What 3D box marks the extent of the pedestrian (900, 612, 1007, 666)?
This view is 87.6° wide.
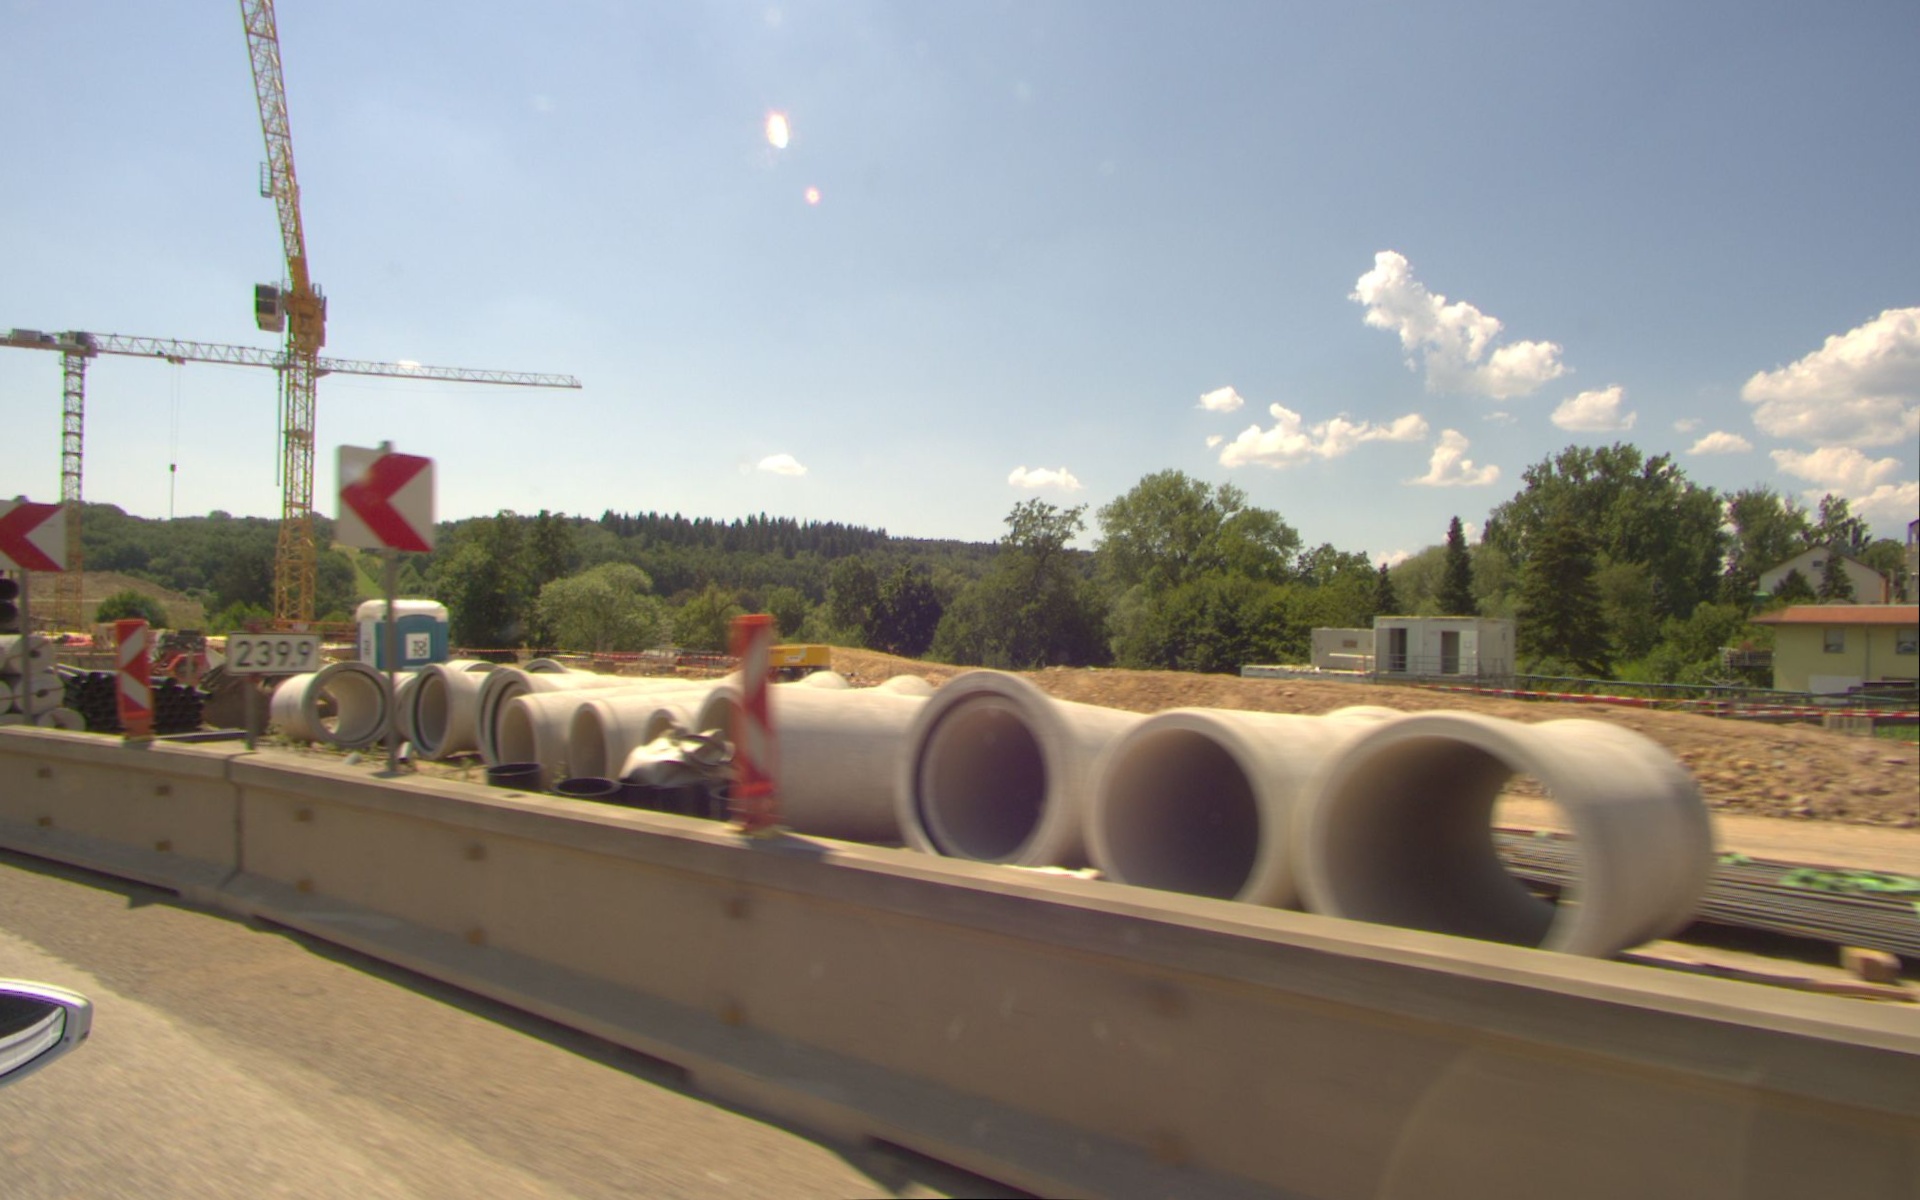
[{"bbox_3d":[-0.294,1.606,40.799,3.951,2.038,1.987,-4,-3,37],"label":"pedestrian"}]

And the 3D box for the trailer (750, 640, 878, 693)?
[{"bbox_3d":[-4.480,1.989,30.574,3.775,1.504,1.620,-1,-3,35],"label":"trailer"}]
